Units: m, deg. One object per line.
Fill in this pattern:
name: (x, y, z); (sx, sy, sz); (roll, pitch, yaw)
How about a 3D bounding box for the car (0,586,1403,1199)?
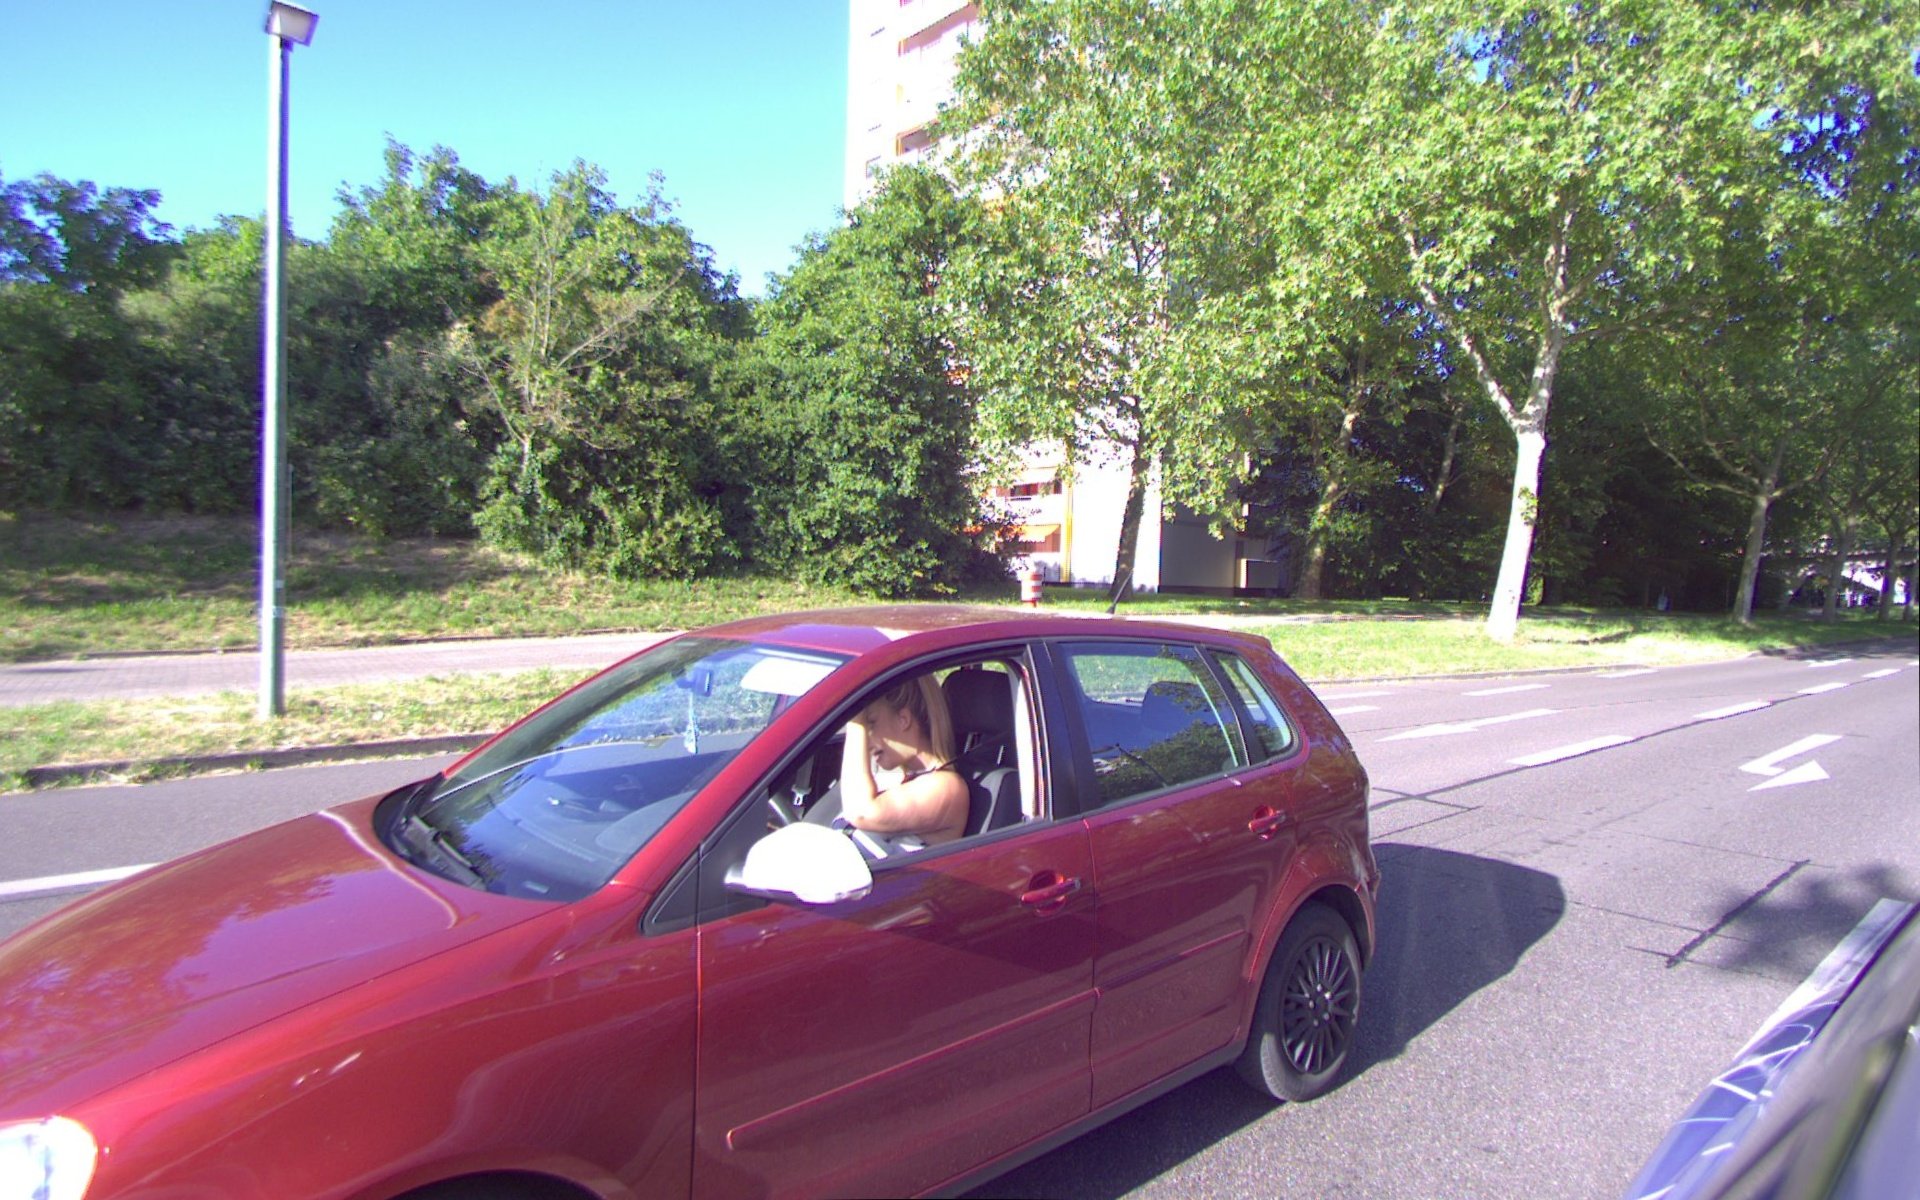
car: (-0.444, 0.709, 2.731); (3.624, 1.479, 1.579); (-1, 0, -40)
